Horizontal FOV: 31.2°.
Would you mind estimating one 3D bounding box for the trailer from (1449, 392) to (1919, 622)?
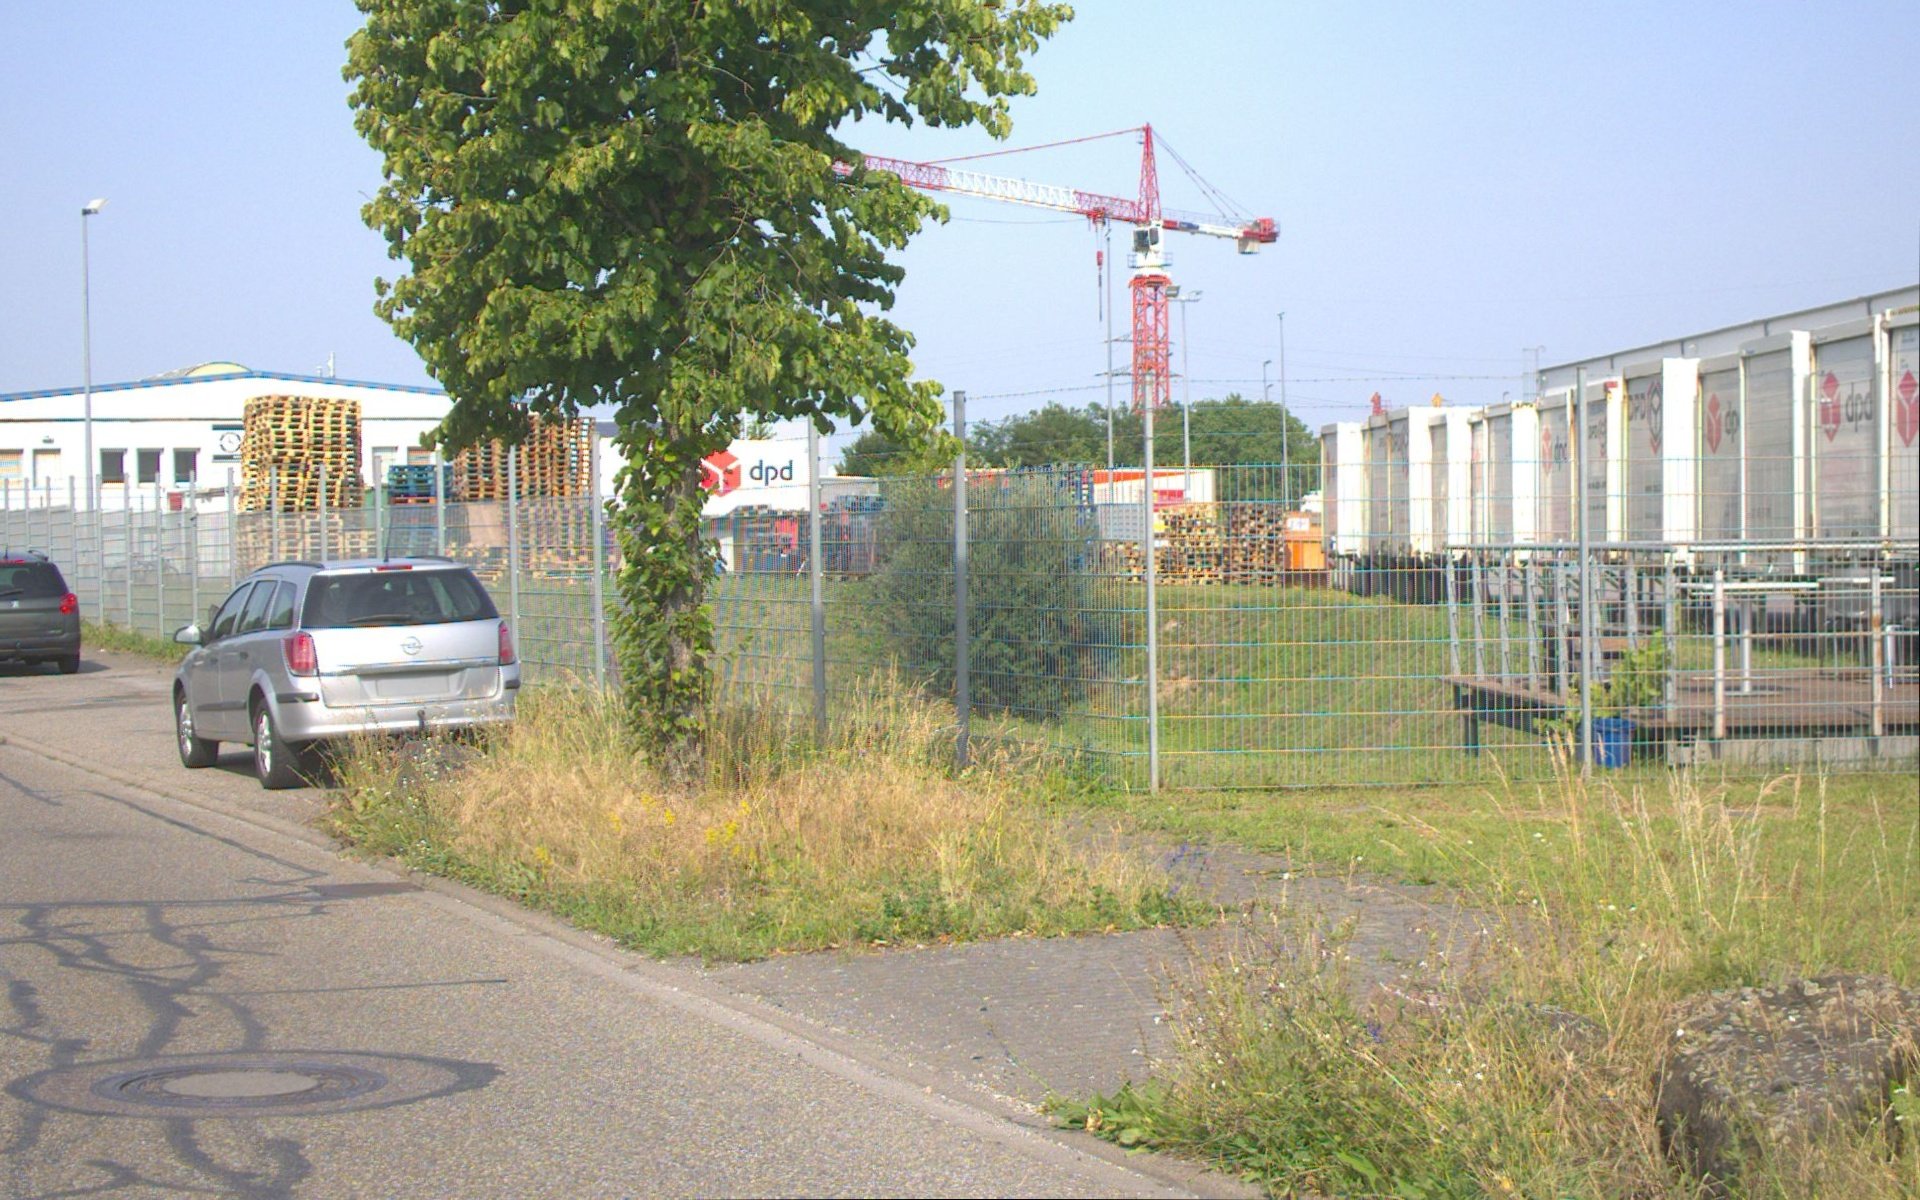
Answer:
[{"bbox_3d":[13.026,-1.661,61.595,7.961,3.880,2.776,1,2,-4],"label":"trailer"}]

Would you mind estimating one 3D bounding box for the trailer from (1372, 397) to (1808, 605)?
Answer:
[{"bbox_3d":[12.389,-1.953,68.033,7.961,3.880,2.776,1,2,-4],"label":"trailer"}]

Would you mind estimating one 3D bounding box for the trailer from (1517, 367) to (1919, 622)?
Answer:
[{"bbox_3d":[13.254,-1.679,55.263,7.961,3.880,2.776,1,2,-4],"label":"trailer"}]

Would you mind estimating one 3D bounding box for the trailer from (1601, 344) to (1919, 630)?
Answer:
[{"bbox_3d":[13.460,-1.568,49.034,7.961,3.880,2.776,1,2,-4],"label":"trailer"}]

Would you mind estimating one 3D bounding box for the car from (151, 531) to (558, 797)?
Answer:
[{"bbox_3d":[-4.392,0.366,24.383,1.798,1.620,4.450,-3,2,-23],"label":"car"}]

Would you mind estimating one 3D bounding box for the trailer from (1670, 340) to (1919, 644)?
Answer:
[{"bbox_3d":[13.897,-1.391,46.077,8.032,3.880,2.776,1,2,-4],"label":"trailer"}]

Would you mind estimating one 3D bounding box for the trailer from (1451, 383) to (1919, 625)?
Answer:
[{"bbox_3d":[12.586,-1.620,58.268,7.961,3.880,2.776,1,2,-4],"label":"trailer"}]

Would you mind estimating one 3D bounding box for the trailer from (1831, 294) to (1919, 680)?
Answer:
[{"bbox_3d":[13.814,-1.108,36.025,8.534,3.880,2.776,1,2,-4],"label":"trailer"}]

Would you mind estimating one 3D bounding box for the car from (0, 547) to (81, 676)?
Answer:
[{"bbox_3d":[-12.310,0.125,43.113,1.714,1.510,4.005,-3,2,-25],"label":"car"}]

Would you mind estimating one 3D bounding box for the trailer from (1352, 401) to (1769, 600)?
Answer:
[{"bbox_3d":[12.330,-2.054,70.982,7.961,3.880,2.776,1,2,-4],"label":"trailer"}]

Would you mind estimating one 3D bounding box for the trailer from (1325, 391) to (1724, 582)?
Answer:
[{"bbox_3d":[12.092,-2.442,74.028,7.961,3.880,2.743,1,2,-4],"label":"trailer"}]

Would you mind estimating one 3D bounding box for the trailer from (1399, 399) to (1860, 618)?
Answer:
[{"bbox_3d":[12.519,-1.717,64.652,7.961,3.880,2.776,1,2,-4],"label":"trailer"}]

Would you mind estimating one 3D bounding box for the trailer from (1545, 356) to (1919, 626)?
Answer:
[{"bbox_3d":[13.153,-1.614,52.040,7.961,3.880,2.776,1,2,-4],"label":"trailer"}]

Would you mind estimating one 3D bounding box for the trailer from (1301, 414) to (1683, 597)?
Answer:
[{"bbox_3d":[11.874,-2.119,77.083,7.961,3.880,2.743,1,2,-4],"label":"trailer"}]

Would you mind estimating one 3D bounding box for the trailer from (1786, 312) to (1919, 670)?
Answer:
[{"bbox_3d":[13.940,-1.169,39.044,8.306,3.880,2.776,1,2,-4],"label":"trailer"}]

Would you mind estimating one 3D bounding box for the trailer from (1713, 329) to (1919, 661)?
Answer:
[{"bbox_3d":[13.748,-1.223,42.102,8.306,3.880,2.776,1,2,-4],"label":"trailer"}]
